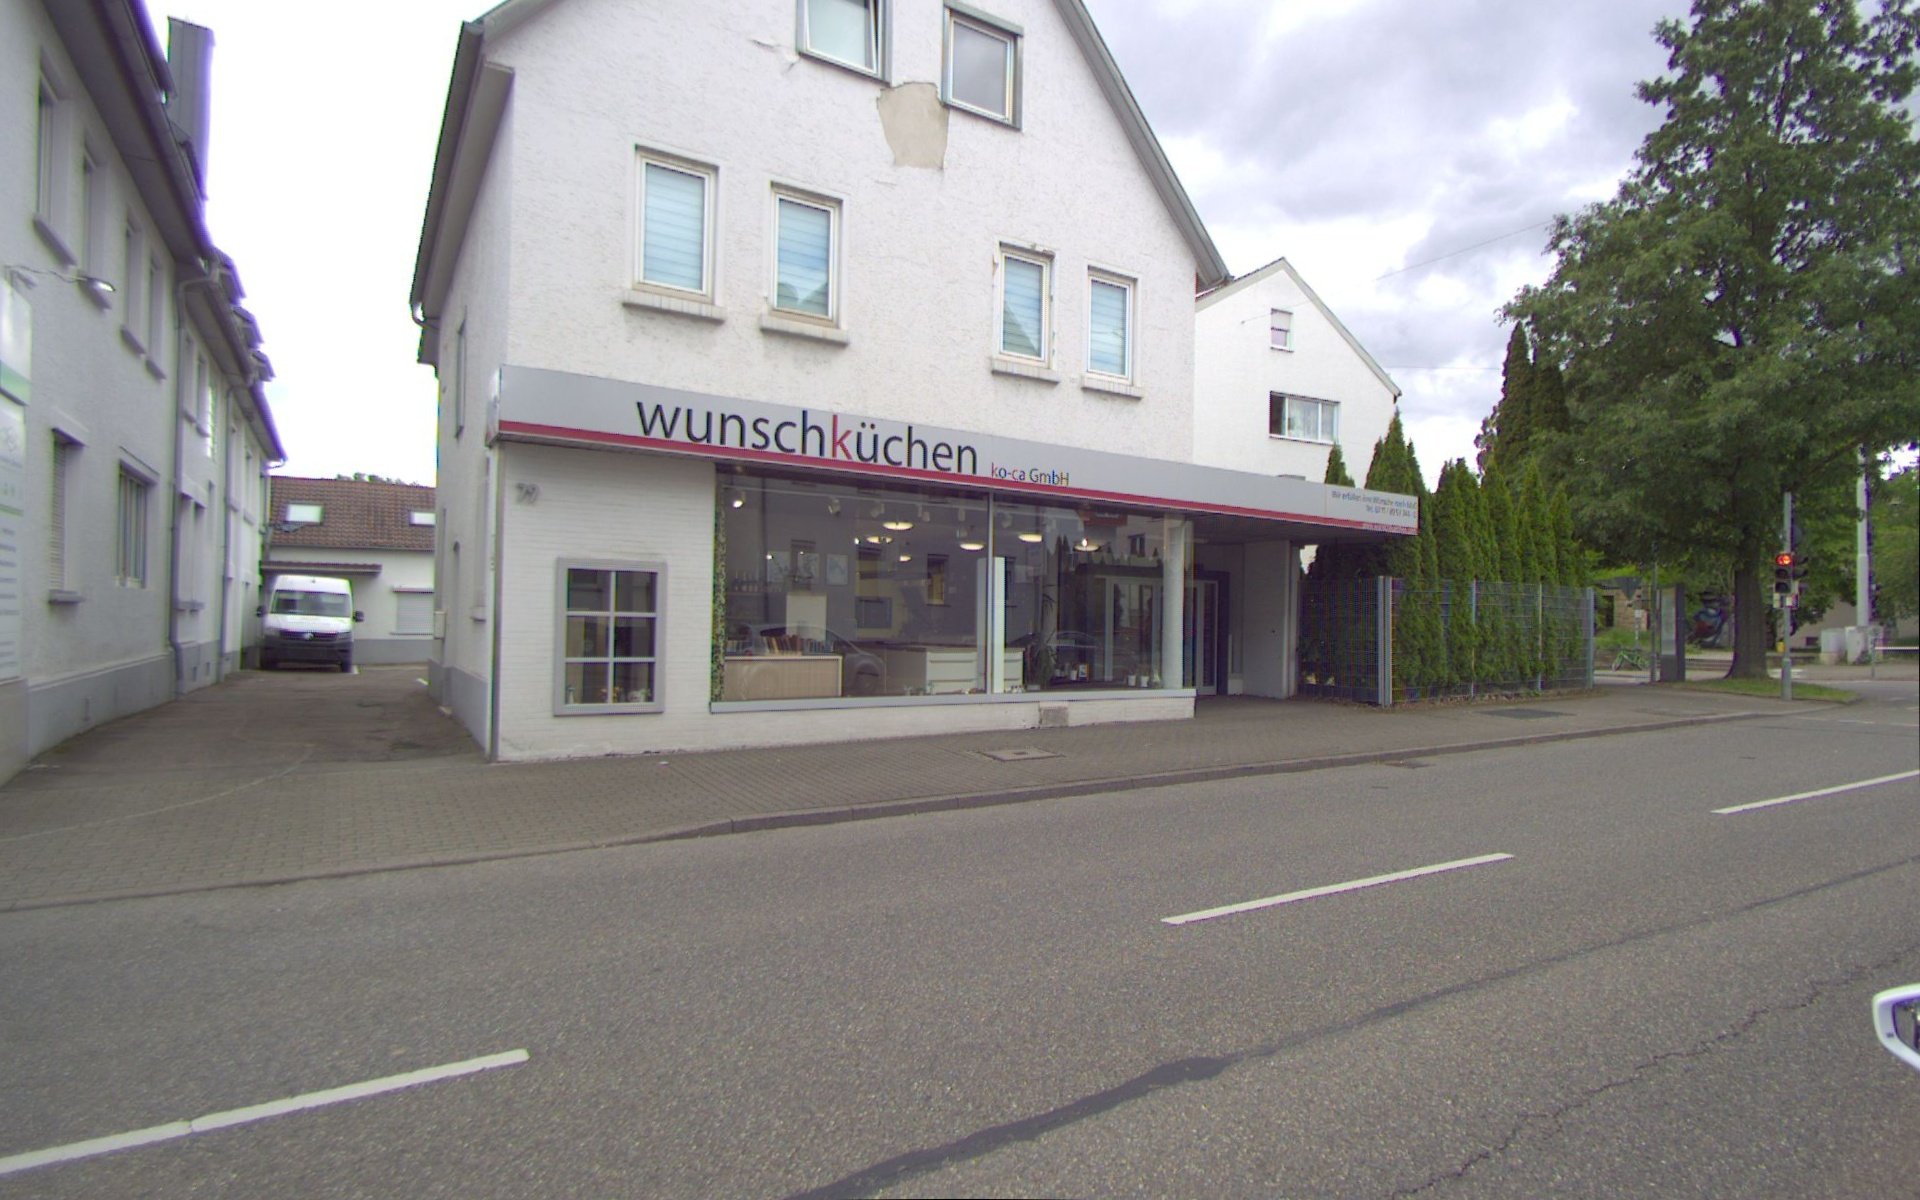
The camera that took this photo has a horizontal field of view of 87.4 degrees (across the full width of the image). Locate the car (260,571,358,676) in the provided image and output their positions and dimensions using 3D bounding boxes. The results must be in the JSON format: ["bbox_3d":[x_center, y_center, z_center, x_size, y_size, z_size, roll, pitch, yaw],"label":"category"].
[{"bbox_3d":[-17.980,0.602,27.907,1.938,2.541,5.943,4,-2,-32],"label":"car"}]

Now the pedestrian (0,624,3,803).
[{"bbox_3d":[-7.072,0.822,6.855,0.647,1.297,0.596,1,1,-31],"label":"pedestrian"}]
